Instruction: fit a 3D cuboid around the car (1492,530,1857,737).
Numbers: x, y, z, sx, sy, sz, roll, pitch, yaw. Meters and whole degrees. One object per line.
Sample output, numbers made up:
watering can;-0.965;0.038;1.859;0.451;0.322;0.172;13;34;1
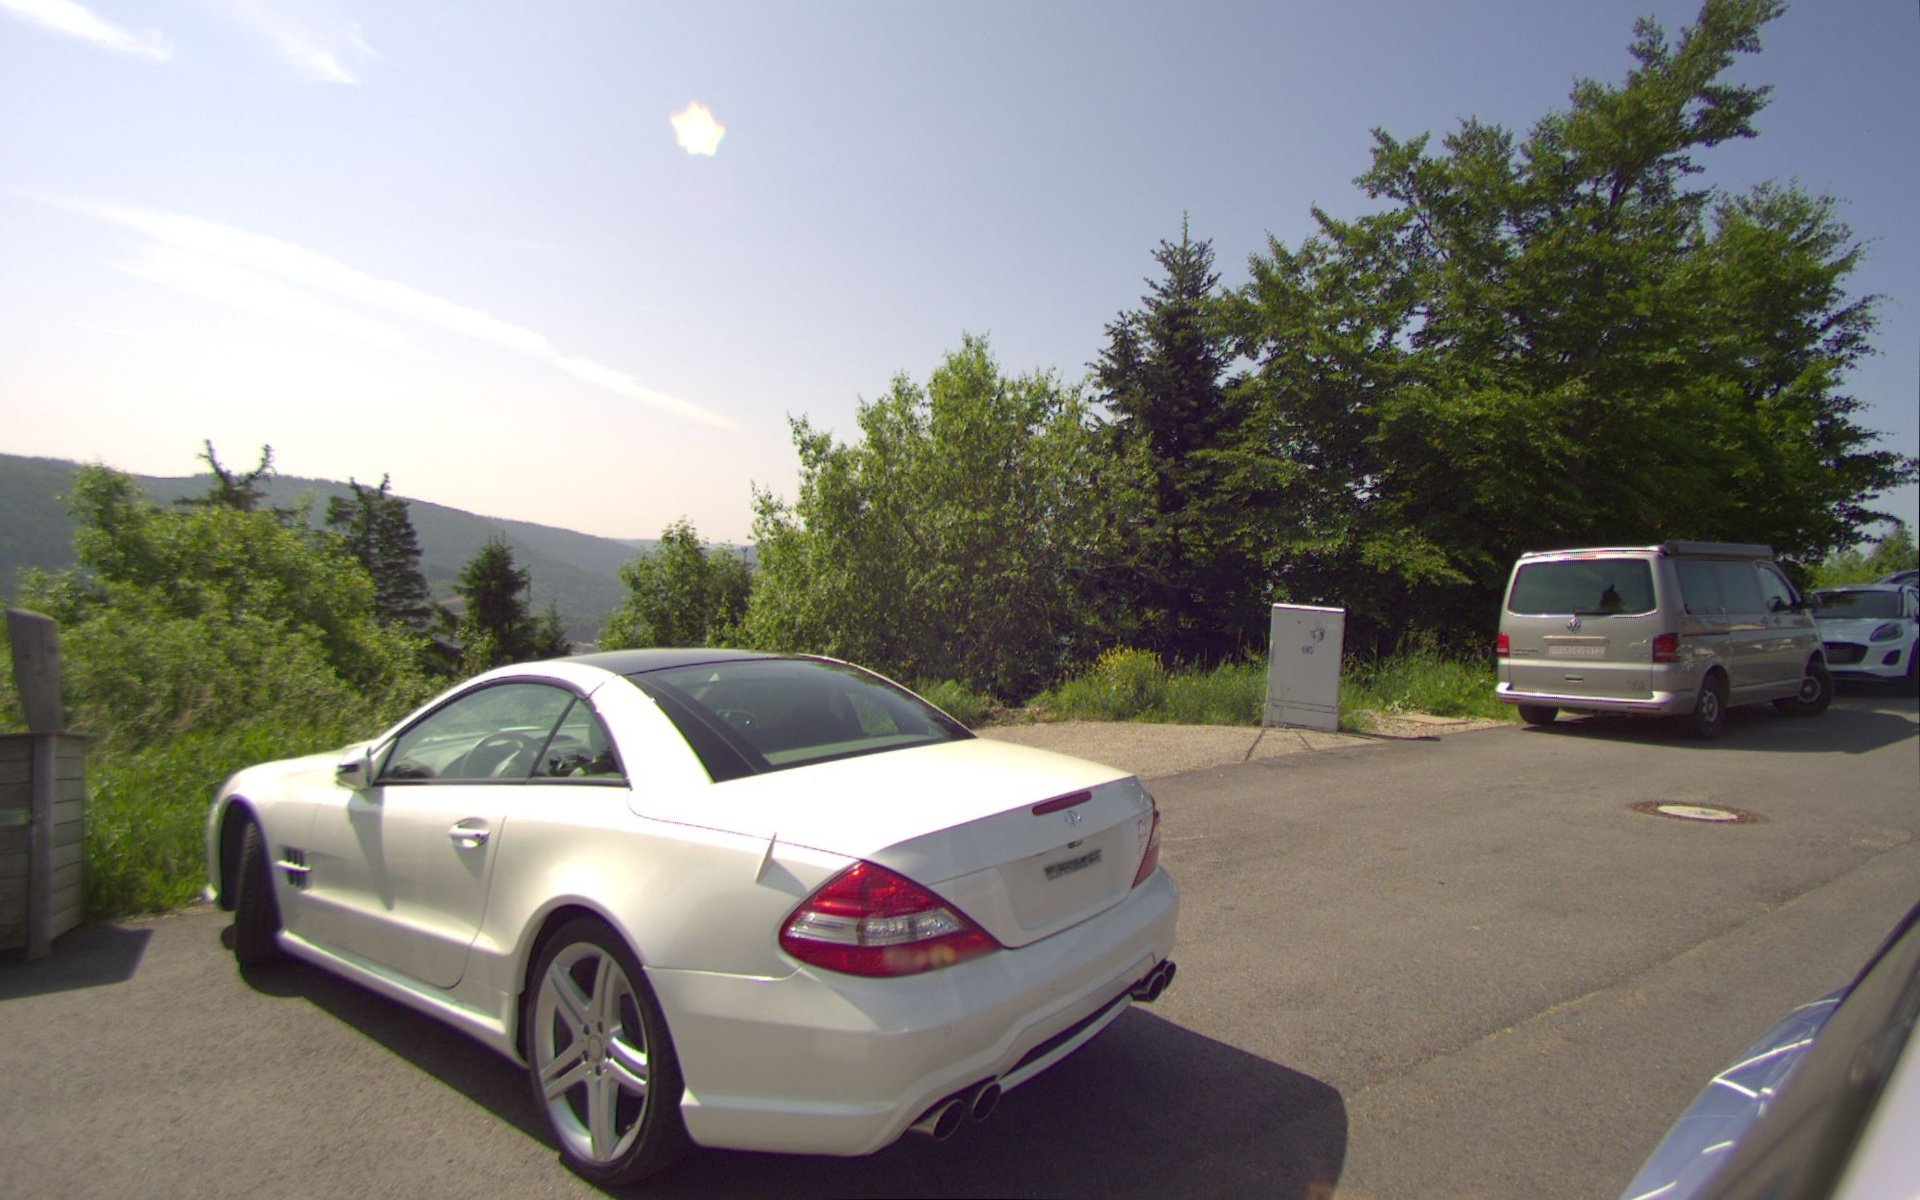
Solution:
car;8.266;0.313;11.594;4.519;1.960;1.863;0;-1;-33

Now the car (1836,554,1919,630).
car;25.612;-0.211;26.039;4.430;1.949;1.853;-1;0;35

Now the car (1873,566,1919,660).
car;18.398;0.203;18.472;3.926;1.639;1.875;-1;0;-37

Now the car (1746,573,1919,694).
car;13.467;0.421;15.024;3.926;1.567;1.875;-1;0;-37

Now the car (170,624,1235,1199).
car;-1.362;0.771;3.932;4.389;1.312;1.731;-1;-1;39

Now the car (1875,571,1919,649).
car;21.898;0.187;21.073;3.973;1.639;1.853;0;0;35
